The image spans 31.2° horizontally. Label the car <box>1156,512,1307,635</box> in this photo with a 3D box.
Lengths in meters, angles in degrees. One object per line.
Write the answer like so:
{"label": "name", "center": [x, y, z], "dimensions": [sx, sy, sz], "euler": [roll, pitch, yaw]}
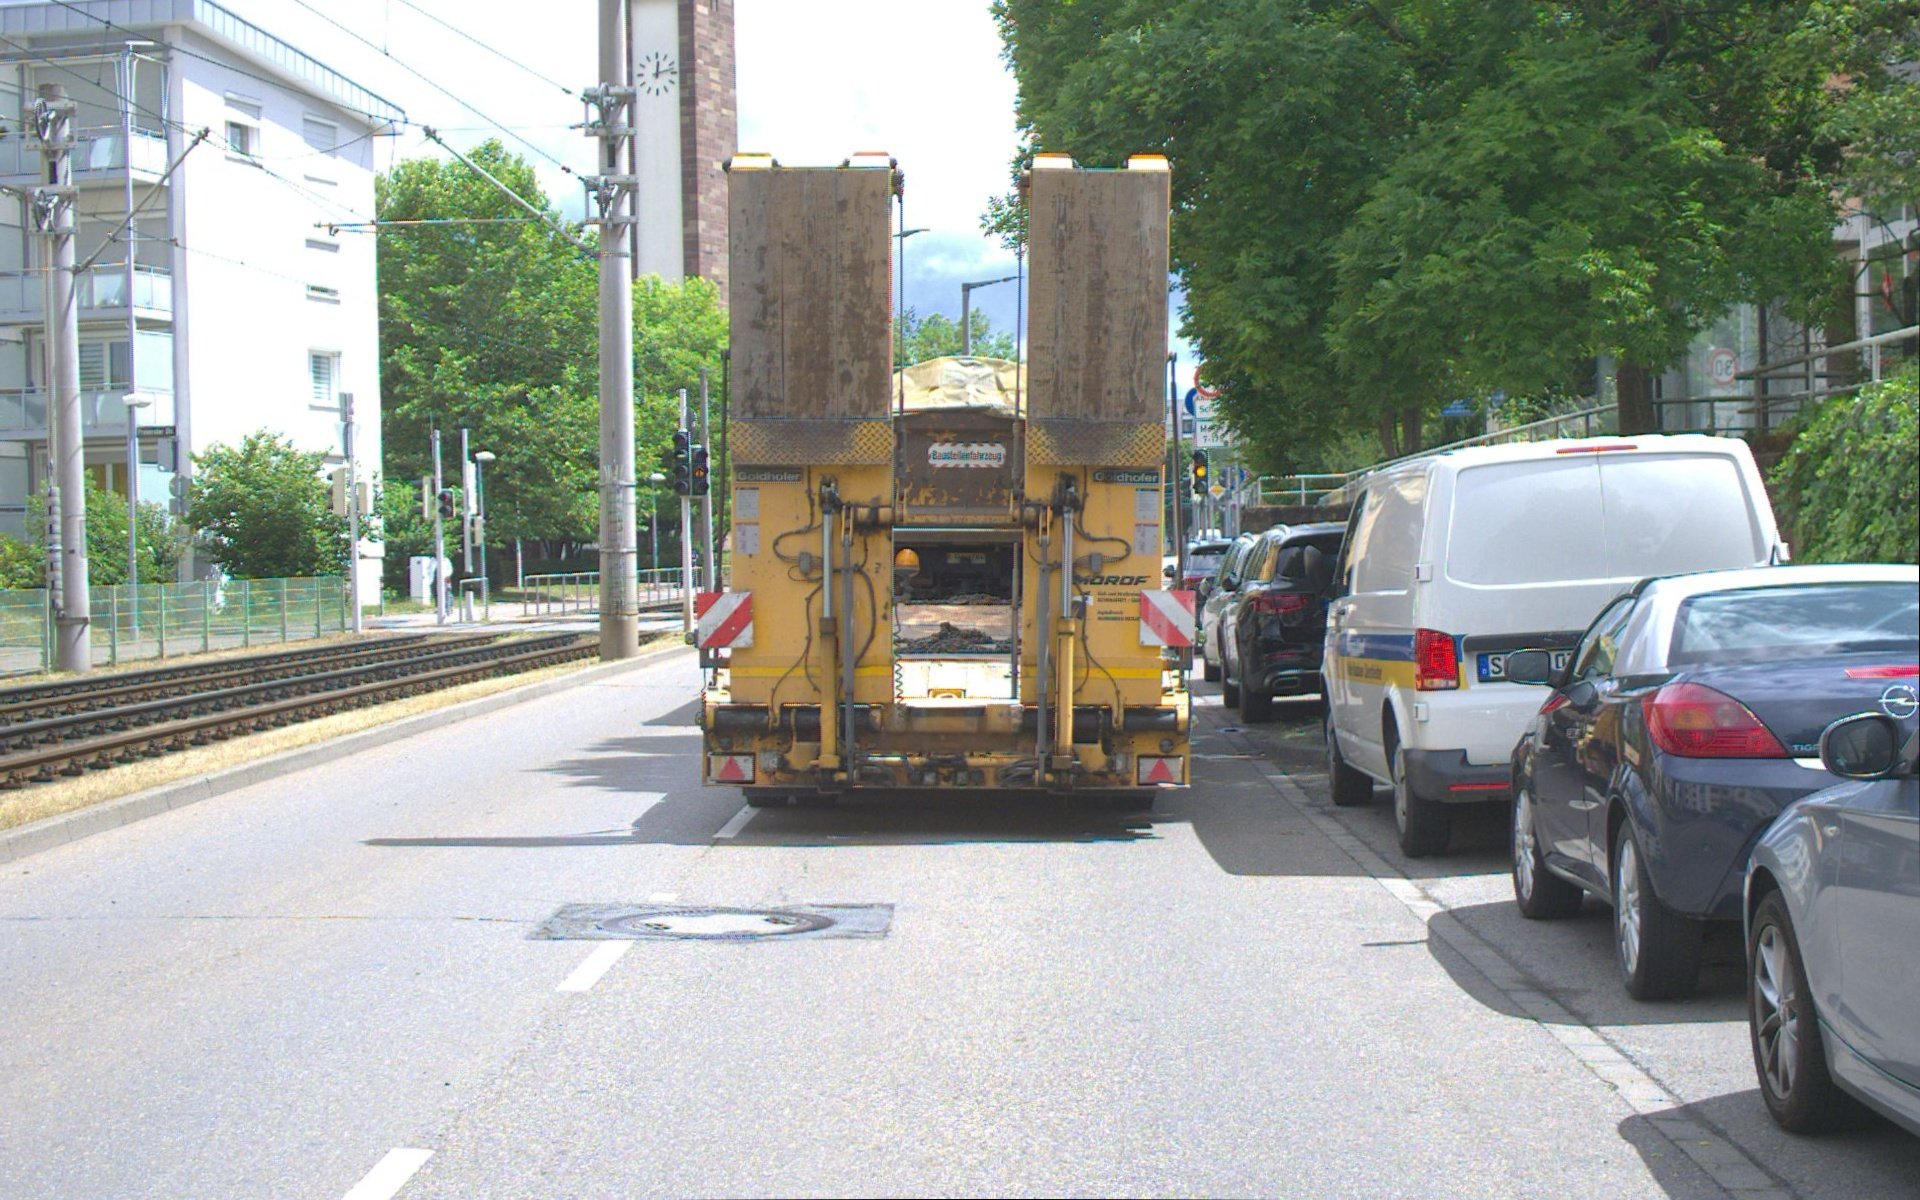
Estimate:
{"label": "car", "center": [3.745, -0.408, 48.007], "dimensions": [1.799, 1.617, 4.292], "euler": [-1, 2, 1]}

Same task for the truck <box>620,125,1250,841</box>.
{"label": "truck", "center": [-0.195, -0.753, 23.482], "dimensions": [3.124, 3.552, 12.461], "euler": [-1, 2, -1]}

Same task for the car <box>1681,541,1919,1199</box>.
{"label": "car", "center": [2.834, 0.588, 7.219], "dimensions": [1.690, 1.400, 4.069], "euler": [-2, 2, -1]}

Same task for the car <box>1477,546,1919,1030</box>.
{"label": "car", "center": [2.915, 0.553, 12.404], "dimensions": [1.621, 1.400, 3.649], "euler": [-2, 2, 2]}

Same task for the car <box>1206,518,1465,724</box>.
{"label": "car", "center": [3.164, 0.119, 29.727], "dimensions": [1.799, 1.617, 4.292], "euler": [-1, 2, 1]}

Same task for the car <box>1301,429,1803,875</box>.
{"label": "car", "center": [2.902, 0.176, 17.815], "dimensions": [1.799, 1.961, 4.590], "euler": [-2, 1, 1]}

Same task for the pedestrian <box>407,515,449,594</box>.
{"label": "pedestrian", "center": [-13.787, -1.190, 89.041], "dimensions": [0.951, 2.007, 1.179], "euler": [-1, 1, -14]}
